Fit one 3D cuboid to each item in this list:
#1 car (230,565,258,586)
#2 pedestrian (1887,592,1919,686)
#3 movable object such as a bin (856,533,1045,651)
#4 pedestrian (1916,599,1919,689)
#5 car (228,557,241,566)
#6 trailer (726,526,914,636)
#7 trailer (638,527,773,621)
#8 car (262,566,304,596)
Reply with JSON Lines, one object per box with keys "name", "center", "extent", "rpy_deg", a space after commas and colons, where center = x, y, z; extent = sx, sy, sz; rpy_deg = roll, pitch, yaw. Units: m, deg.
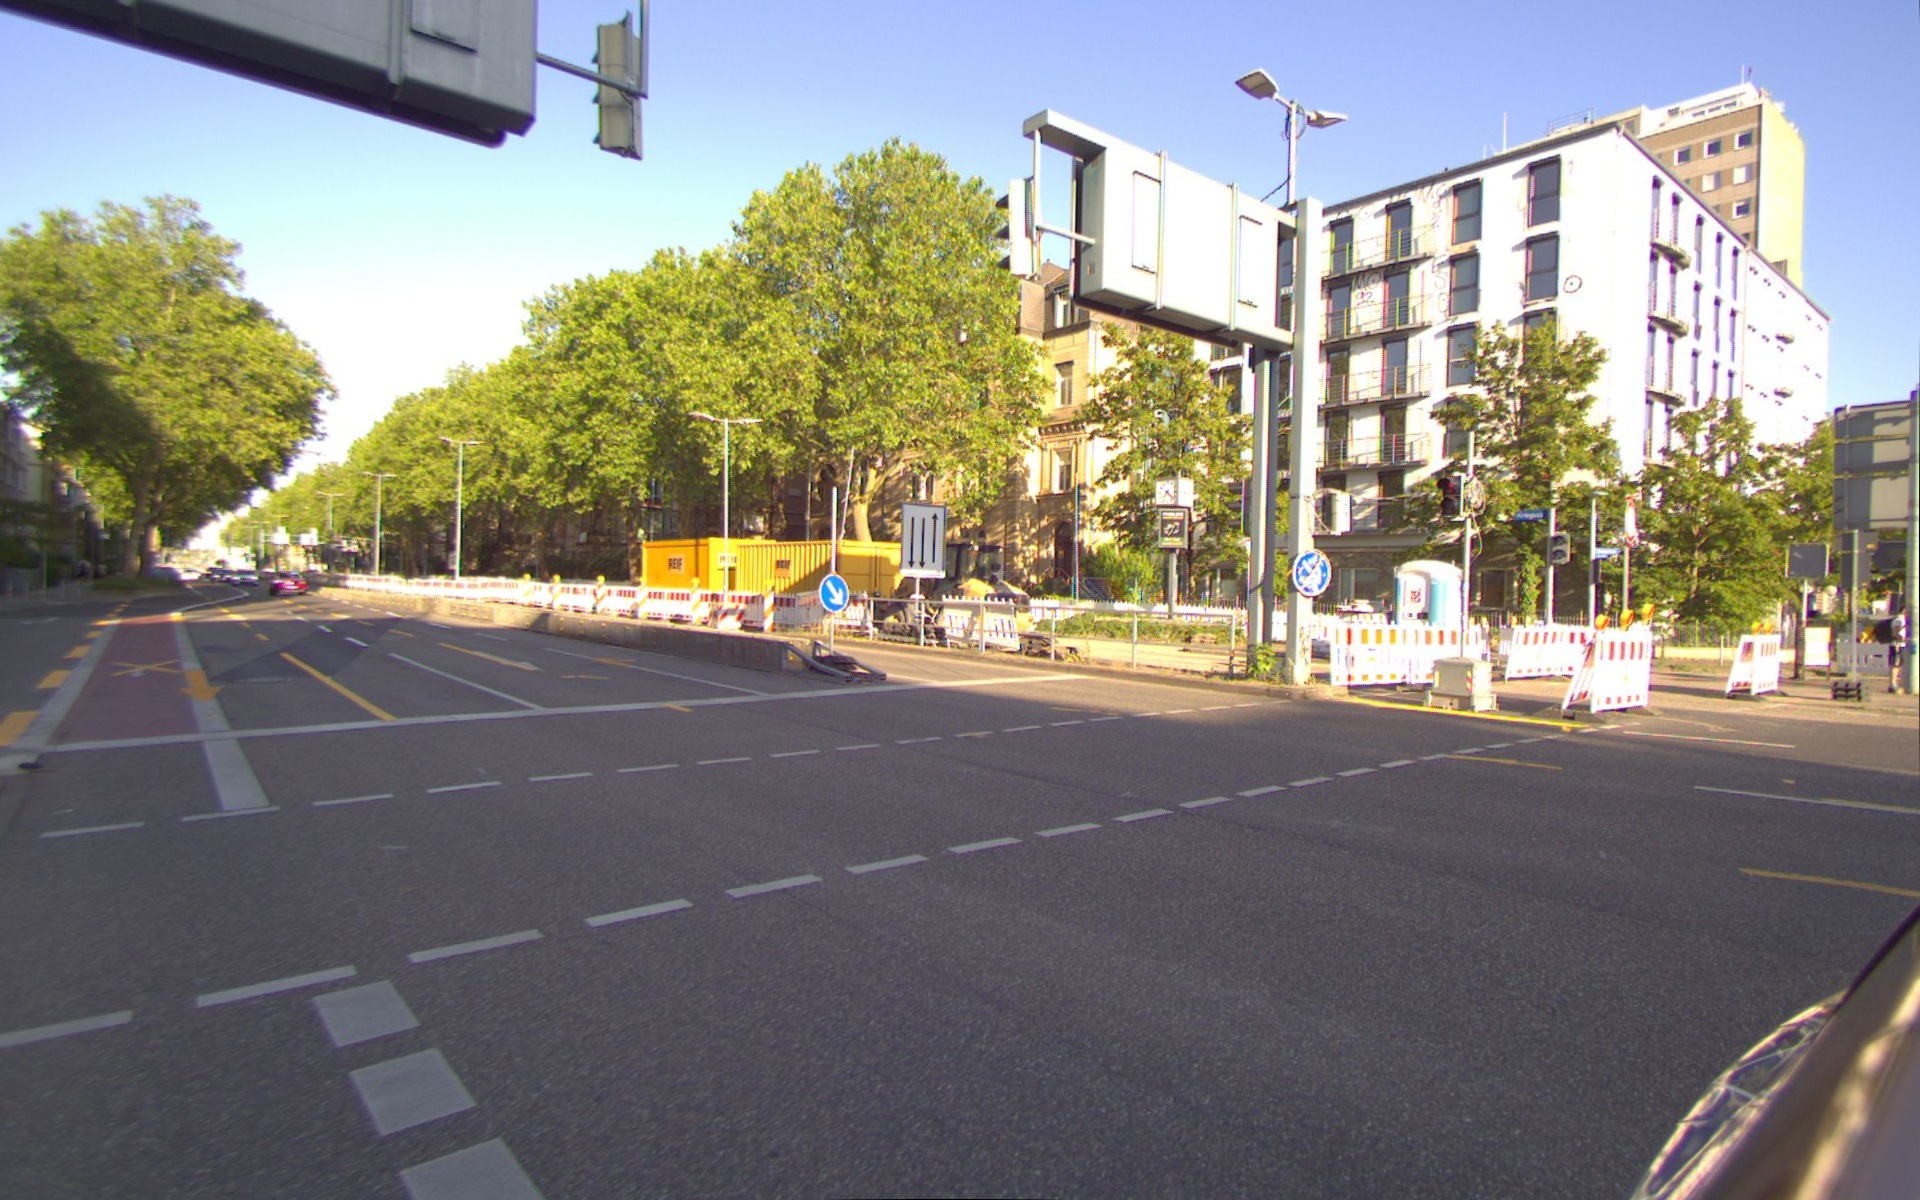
{"name": "car", "center": [-64.066, -2.195, 90.561], "extent": [1.739, 1.727, 3.996], "rpy_deg": [1, 1, -39]}
{"name": "pedestrian", "center": [19.512, 0.793, 20.798], "extent": [0.494, 1.901, 0.597], "rpy_deg": [2, 0, 25]}
{"name": "movable object such as a bin", "center": [-0.372, -0.227, 25.087], "extent": [1.962, 2.626, 5.214], "rpy_deg": [1, 1, -36]}
{"name": "pedestrian", "center": [20.646, 0.943, 21.159], "extent": [0.696, 1.901, 0.578], "rpy_deg": [2, 0, -2]}
{"name": "car", "center": [-136.684, -7.246, 190.624], "extent": [1.739, 1.727, 3.996], "rpy_deg": [1, 1, -39]}
{"name": "trailer", "center": [-4.249, -0.562, 29.770], "extent": [2.497, 2.903, 6.121], "rpy_deg": [1, 1, -41]}
{"name": "trailer", "center": [-9.151, -0.916, 35.982], "extent": [2.362, 3.053, 6.127], "rpy_deg": [1, 1, -37]}
{"name": "car", "center": [-41.570, -1.198, 62.089], "extent": [1.739, 1.727, 3.996], "rpy_deg": [1, 1, -39]}
